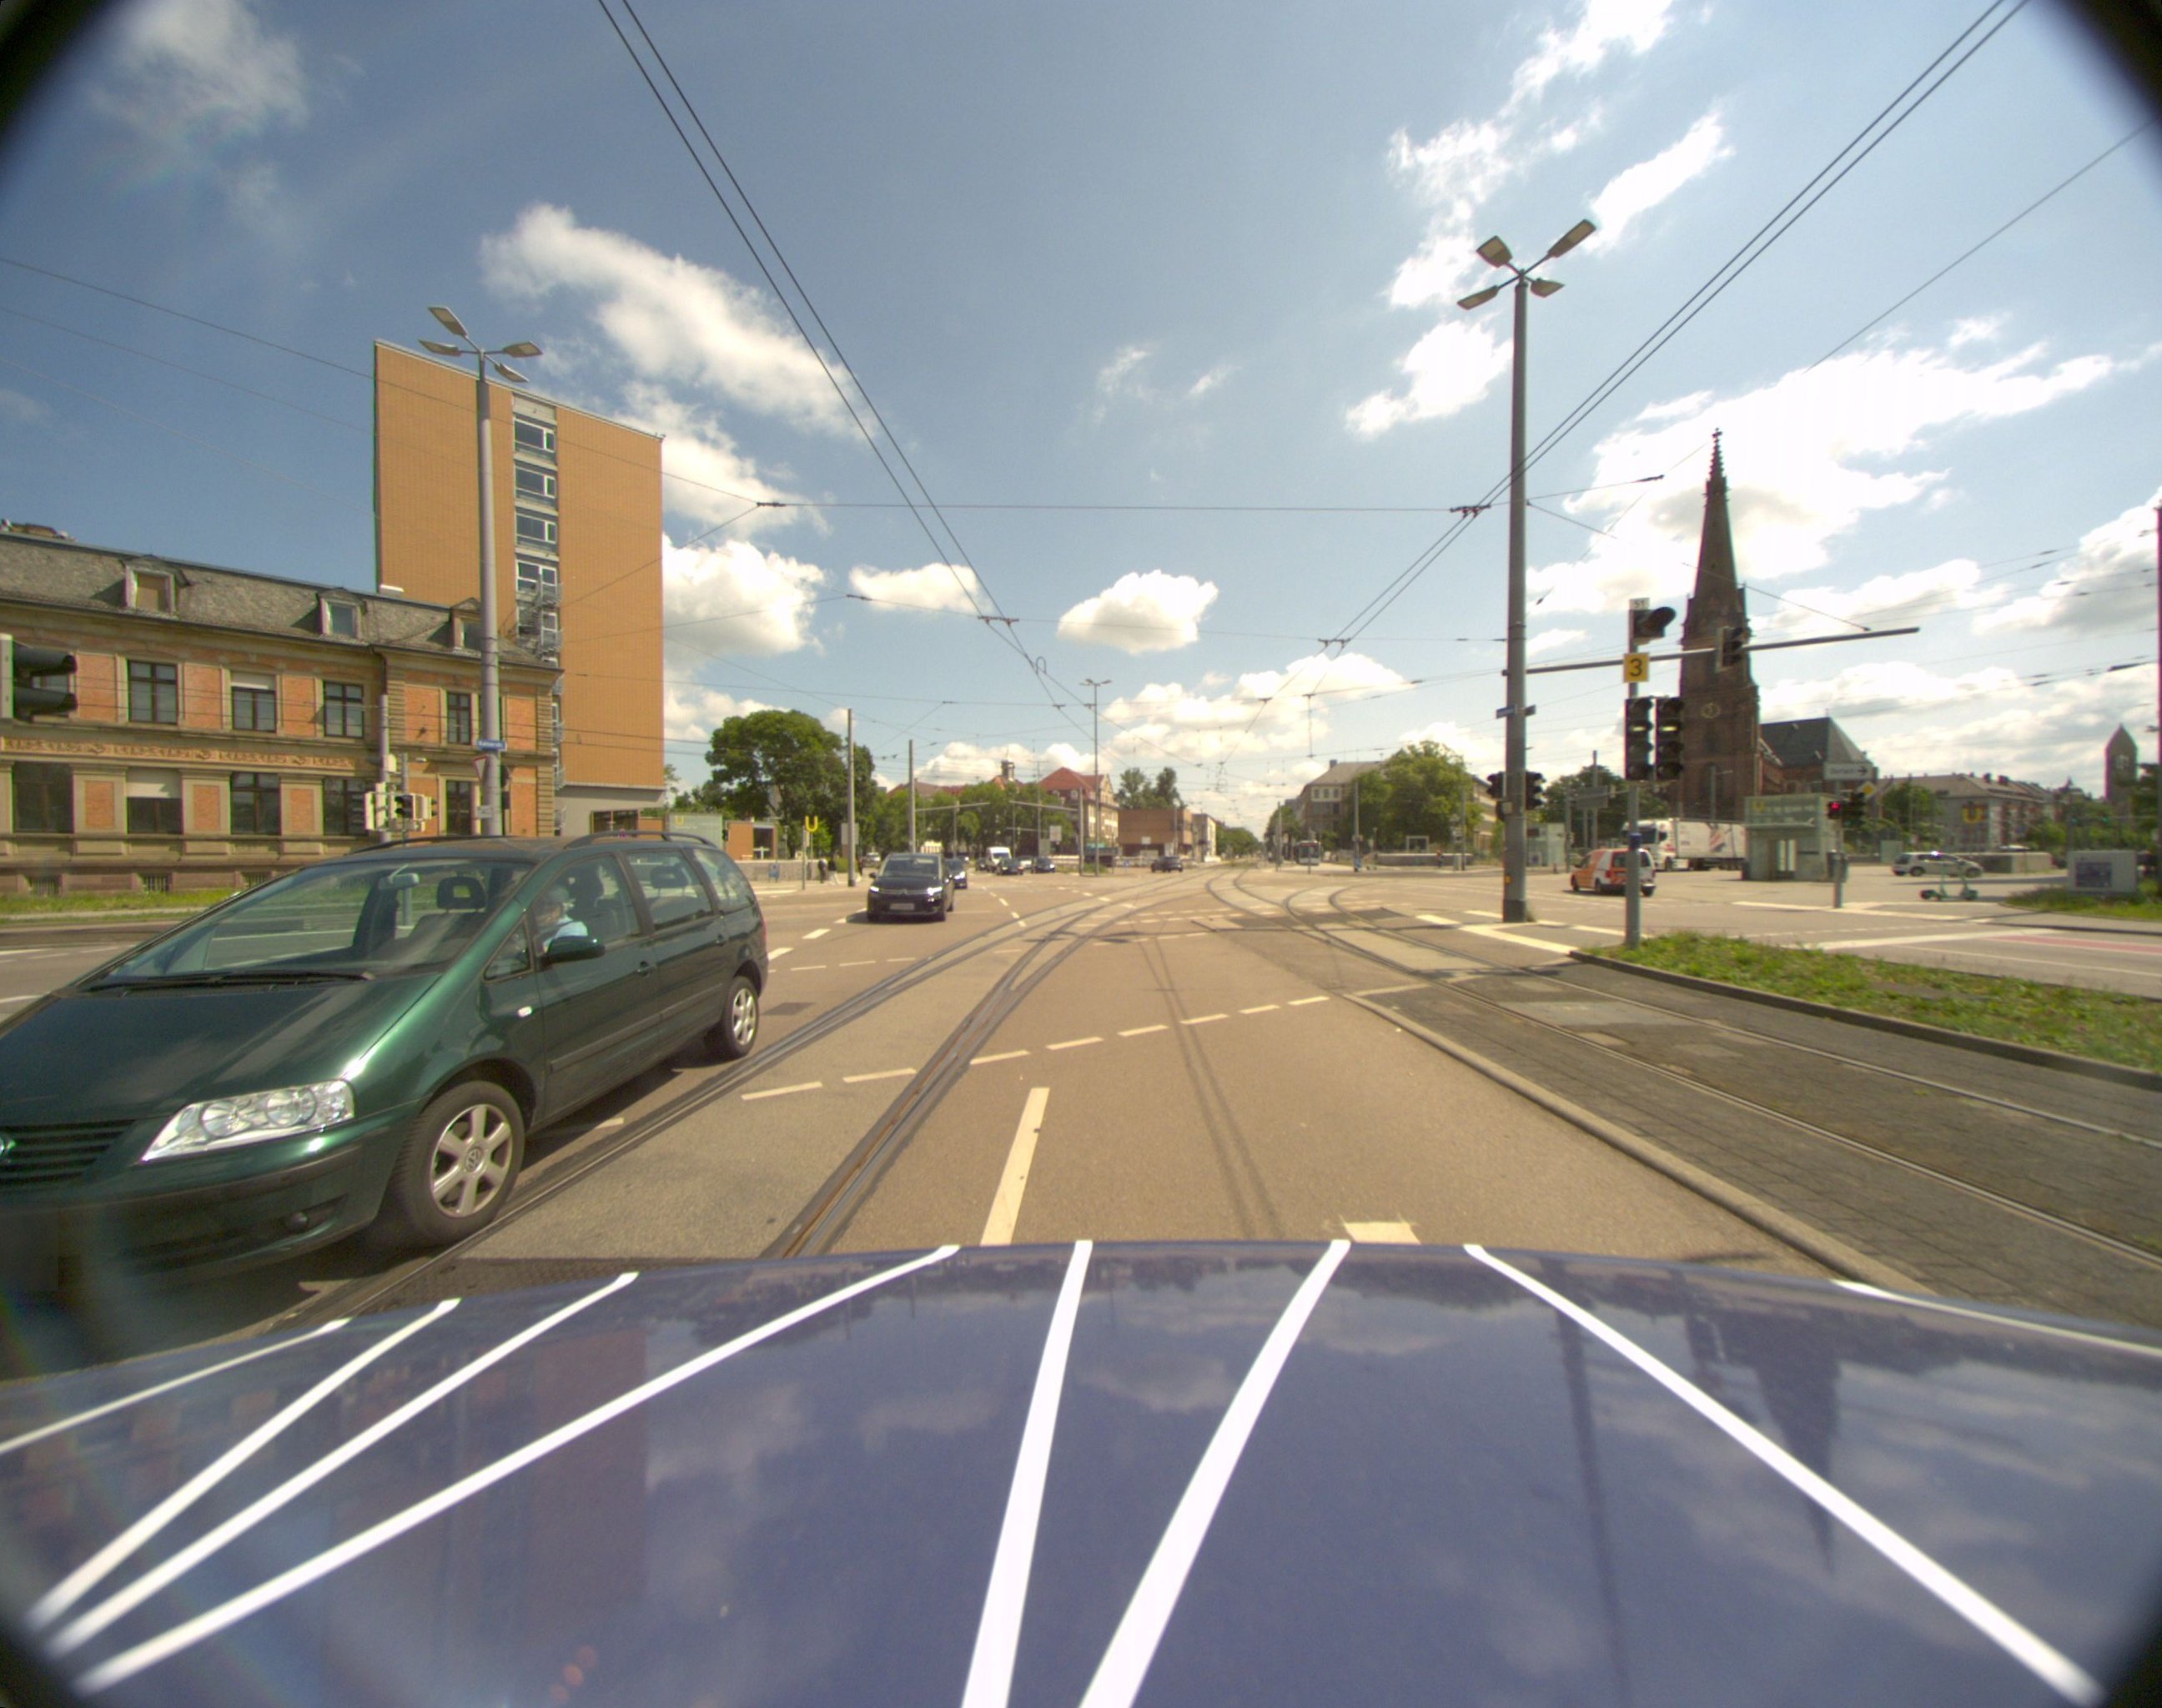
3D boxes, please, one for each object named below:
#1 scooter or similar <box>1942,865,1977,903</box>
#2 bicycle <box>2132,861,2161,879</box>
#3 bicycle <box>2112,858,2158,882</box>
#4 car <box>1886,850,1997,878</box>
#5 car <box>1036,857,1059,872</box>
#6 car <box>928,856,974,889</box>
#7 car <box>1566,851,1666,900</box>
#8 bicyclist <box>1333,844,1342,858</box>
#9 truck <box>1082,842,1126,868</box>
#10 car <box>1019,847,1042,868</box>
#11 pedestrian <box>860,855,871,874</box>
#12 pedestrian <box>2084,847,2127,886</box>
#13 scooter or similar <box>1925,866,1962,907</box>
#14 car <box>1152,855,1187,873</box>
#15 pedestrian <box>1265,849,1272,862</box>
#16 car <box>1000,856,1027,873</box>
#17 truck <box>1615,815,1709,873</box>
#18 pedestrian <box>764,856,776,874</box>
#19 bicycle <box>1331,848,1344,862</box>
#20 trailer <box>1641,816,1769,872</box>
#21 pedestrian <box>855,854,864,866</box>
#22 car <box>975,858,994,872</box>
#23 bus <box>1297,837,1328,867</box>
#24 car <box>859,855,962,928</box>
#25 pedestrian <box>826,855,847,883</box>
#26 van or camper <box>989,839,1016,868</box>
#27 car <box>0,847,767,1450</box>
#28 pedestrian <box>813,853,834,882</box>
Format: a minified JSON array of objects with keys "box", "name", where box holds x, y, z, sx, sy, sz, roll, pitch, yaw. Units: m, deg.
[{"box":[26.577,0.896,22.994,0.416,1.118,0.556,0,1,1],"name":"scooter or similar"},{"box":[56.117,0.854,39.902,0.379,0.932,1.063,-1,0,-33],"name":"bicycle"},{"box":[50.241,0.762,36.218,0.460,1.139,1.270,-1,0,-33],"name":"bicycle"},{"box":[51.844,0.591,45.855,4.163,1.633,1.632,0,0,20],"name":"car"},{"box":[-3.079,0.924,68.881,1.672,1.368,3.912,0,0,-9],"name":"car"},{"box":[-6.368,0.882,37.557,1.874,1.477,4.424,-1,1,-5],"name":"car"},{"box":[20.866,0.778,29.847,1.768,1.755,4.246,0,0,14],"name":"car"},{"box":[36.831,-0.470,109.151,1.124,2.002,1.320,1,1,11],"name":"bicyclist"},{"box":[2.671,0.103,92.624,3.357,2.981,8.723,-1,1,-12],"name":"truck"},{"box":[-5.165,0.341,76.719,1.816,2.002,3.996,0,0,-11],"name":"car"},{"box":[-18.073,0.910,63.725,0.830,1.576,0.767,0,0,-9],"name":"pedestrian"},{"box":[41.797,0.497,30.999,0.724,1.551,0.878,-1,0,-21],"name":"pedestrian"},{"box":[25.944,0.965,22.856,0.462,1.193,0.549,0,1,1],"name":"scooter or similar"},{"box":[7.934,0.915,68.555,1.816,1.551,4.103,1,0,-13],"name":"car"},{"box":[27.969,0.209,113.302,0.910,1.812,1.022,1,1,11],"name":"pedestrian"},{"box":[-5.895,0.874,66.111,1.902,1.455,4.257,0,0,-10],"name":"car"},{"box":[42.947,-0.720,56.093,6.889,4.095,2.957,-1,1,-29],"name":"truck"},{"box":[-27.300,0.976,66.663,0.830,1.616,0.767,0,0,-9],"name":"pedestrian"},{"box":[36.874,0.154,109.337,1.246,2.002,3.487,0,0,11],"name":"bicycle"},{"box":[48.960,-0.752,59.416,13.440,4.052,2.942,0,1,-29],"name":"trailer"},{"box":[-32.444,0.866,111.264,1.153,1.679,1.308,0,0,-22],"name":"pedestrian"},{"box":[-10.753,1.186,84.347,1.782,1.565,3.957,0,0,-12],"name":"car"},{"box":[27.169,-0.238,89.260,2.947,3.427,7.955,0,0,13],"name":"bus"},{"box":[-4.186,0.850,19.320,1.873,1.607,4.425,0,1,-3],"name":"car"},{"box":[-15.215,0.921,47.269,1.029,1.710,0.726,-2,2,-39],"name":"pedestrian"},{"box":[-7.884,-0.057,75.780,2.233,2.719,5.516,0,0,-10],"name":"van or camper"},{"box":[-3.497,0.850,4.200,1.819,1.708,4.084,-2,1,-1],"name":"car"},{"box":[-16.096,0.831,47.492,1.029,1.802,0.726,-2,2,-39],"name":"pedestrian"}]
